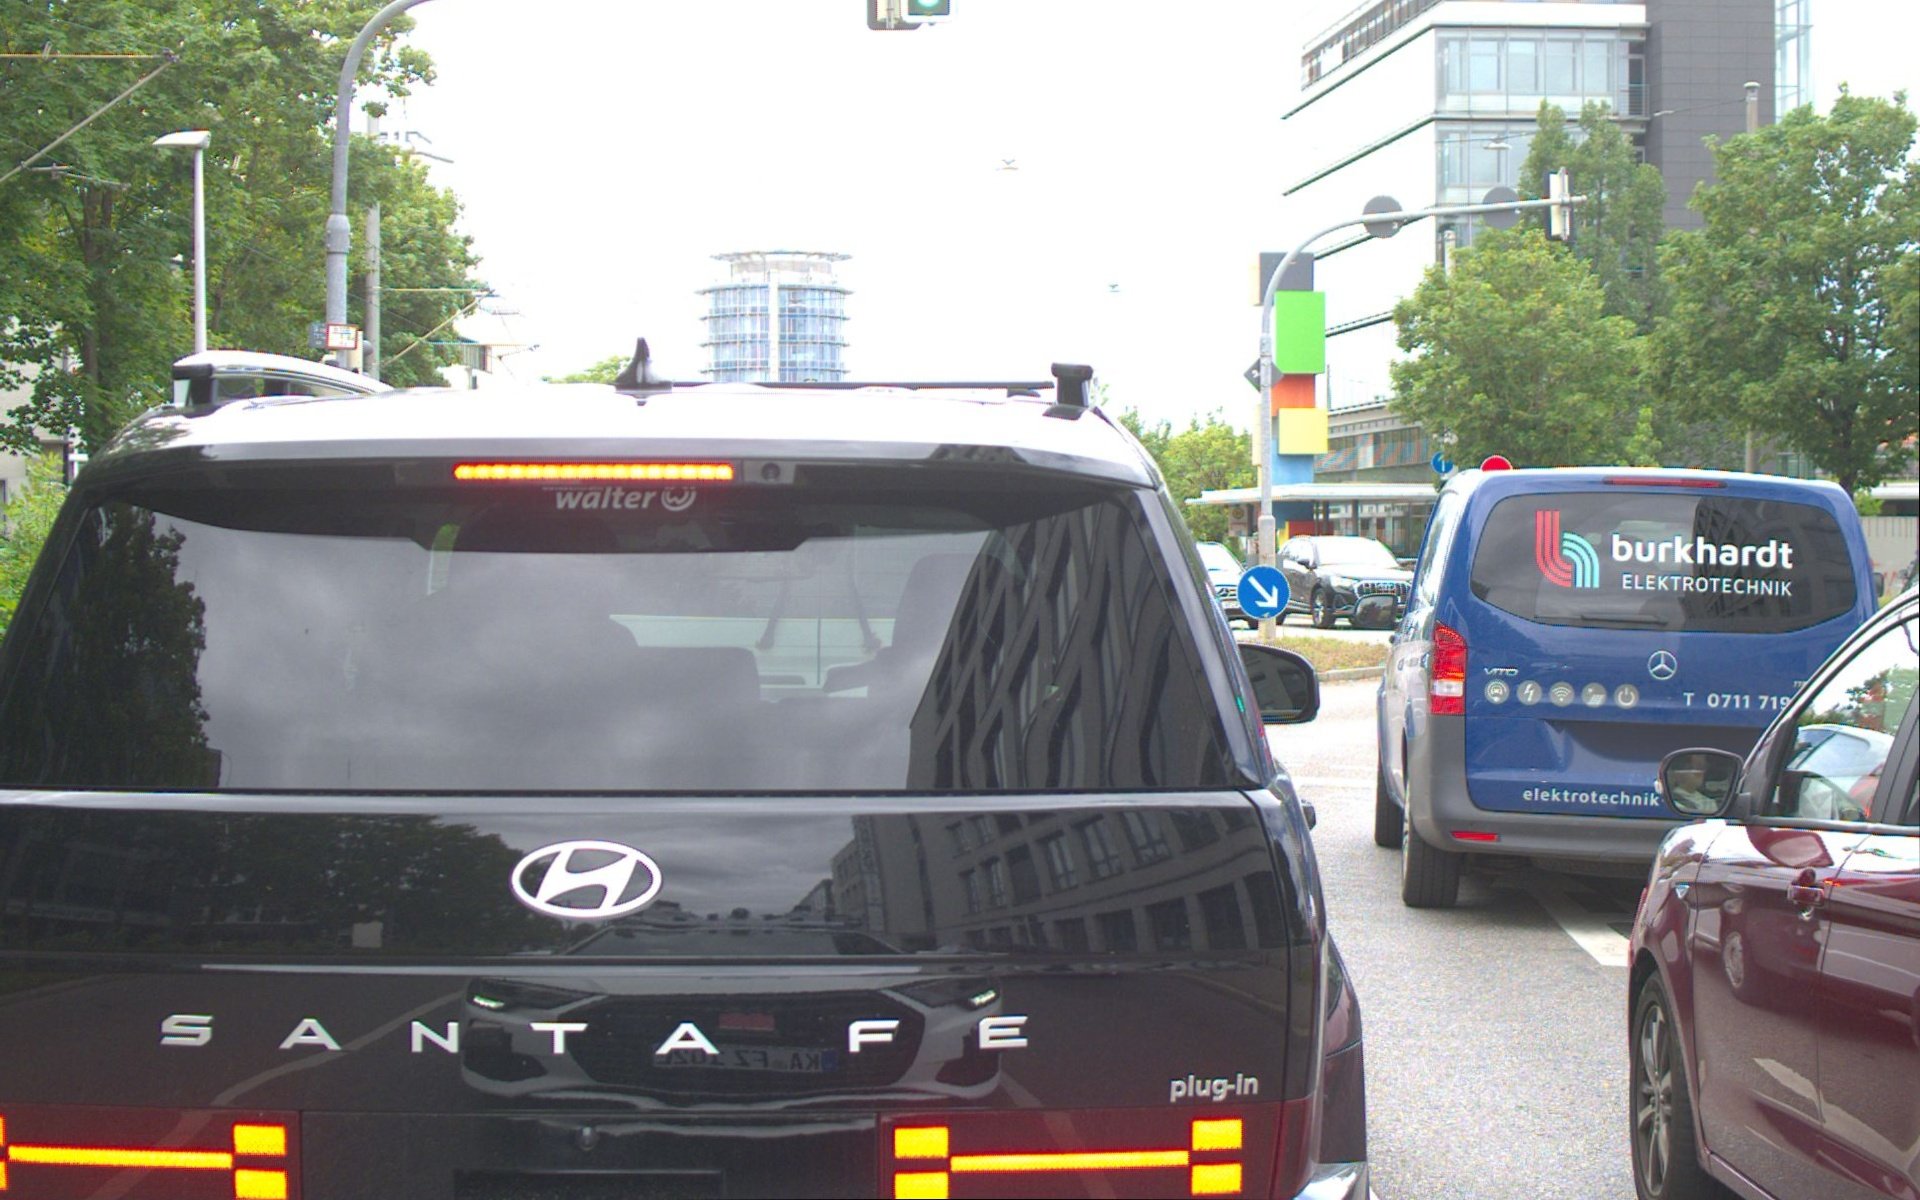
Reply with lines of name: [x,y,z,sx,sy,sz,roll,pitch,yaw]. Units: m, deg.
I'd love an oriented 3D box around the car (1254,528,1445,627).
car: [6.742,-0.423,59.958,1.887,1.559,4.397,1,2,-13]

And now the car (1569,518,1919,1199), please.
car: [2.333,0.614,6.108,1.744,1.476,3.719,1,1,-1]

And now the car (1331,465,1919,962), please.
car: [2.821,0.388,15.565,1.902,1.852,4.709,2,1,2]

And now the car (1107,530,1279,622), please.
car: [3.922,-0.435,58.604,1.782,1.421,4.397,1,2,-11]

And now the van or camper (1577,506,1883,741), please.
van or camper: [7.006,0.131,30.951,1.996,1.911,4.404,2,2,21]

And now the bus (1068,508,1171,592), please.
bus: [6.111,-1.908,133.209,2.966,3.106,9.245,-1,0,-4]

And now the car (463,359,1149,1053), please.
car: [-0.329,0.261,12.317,1.902,1.962,4.635,2,1,4]

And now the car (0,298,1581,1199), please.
car: [-0.370,0.530,5.716,1.902,1.725,4.446,2,1,-1]
